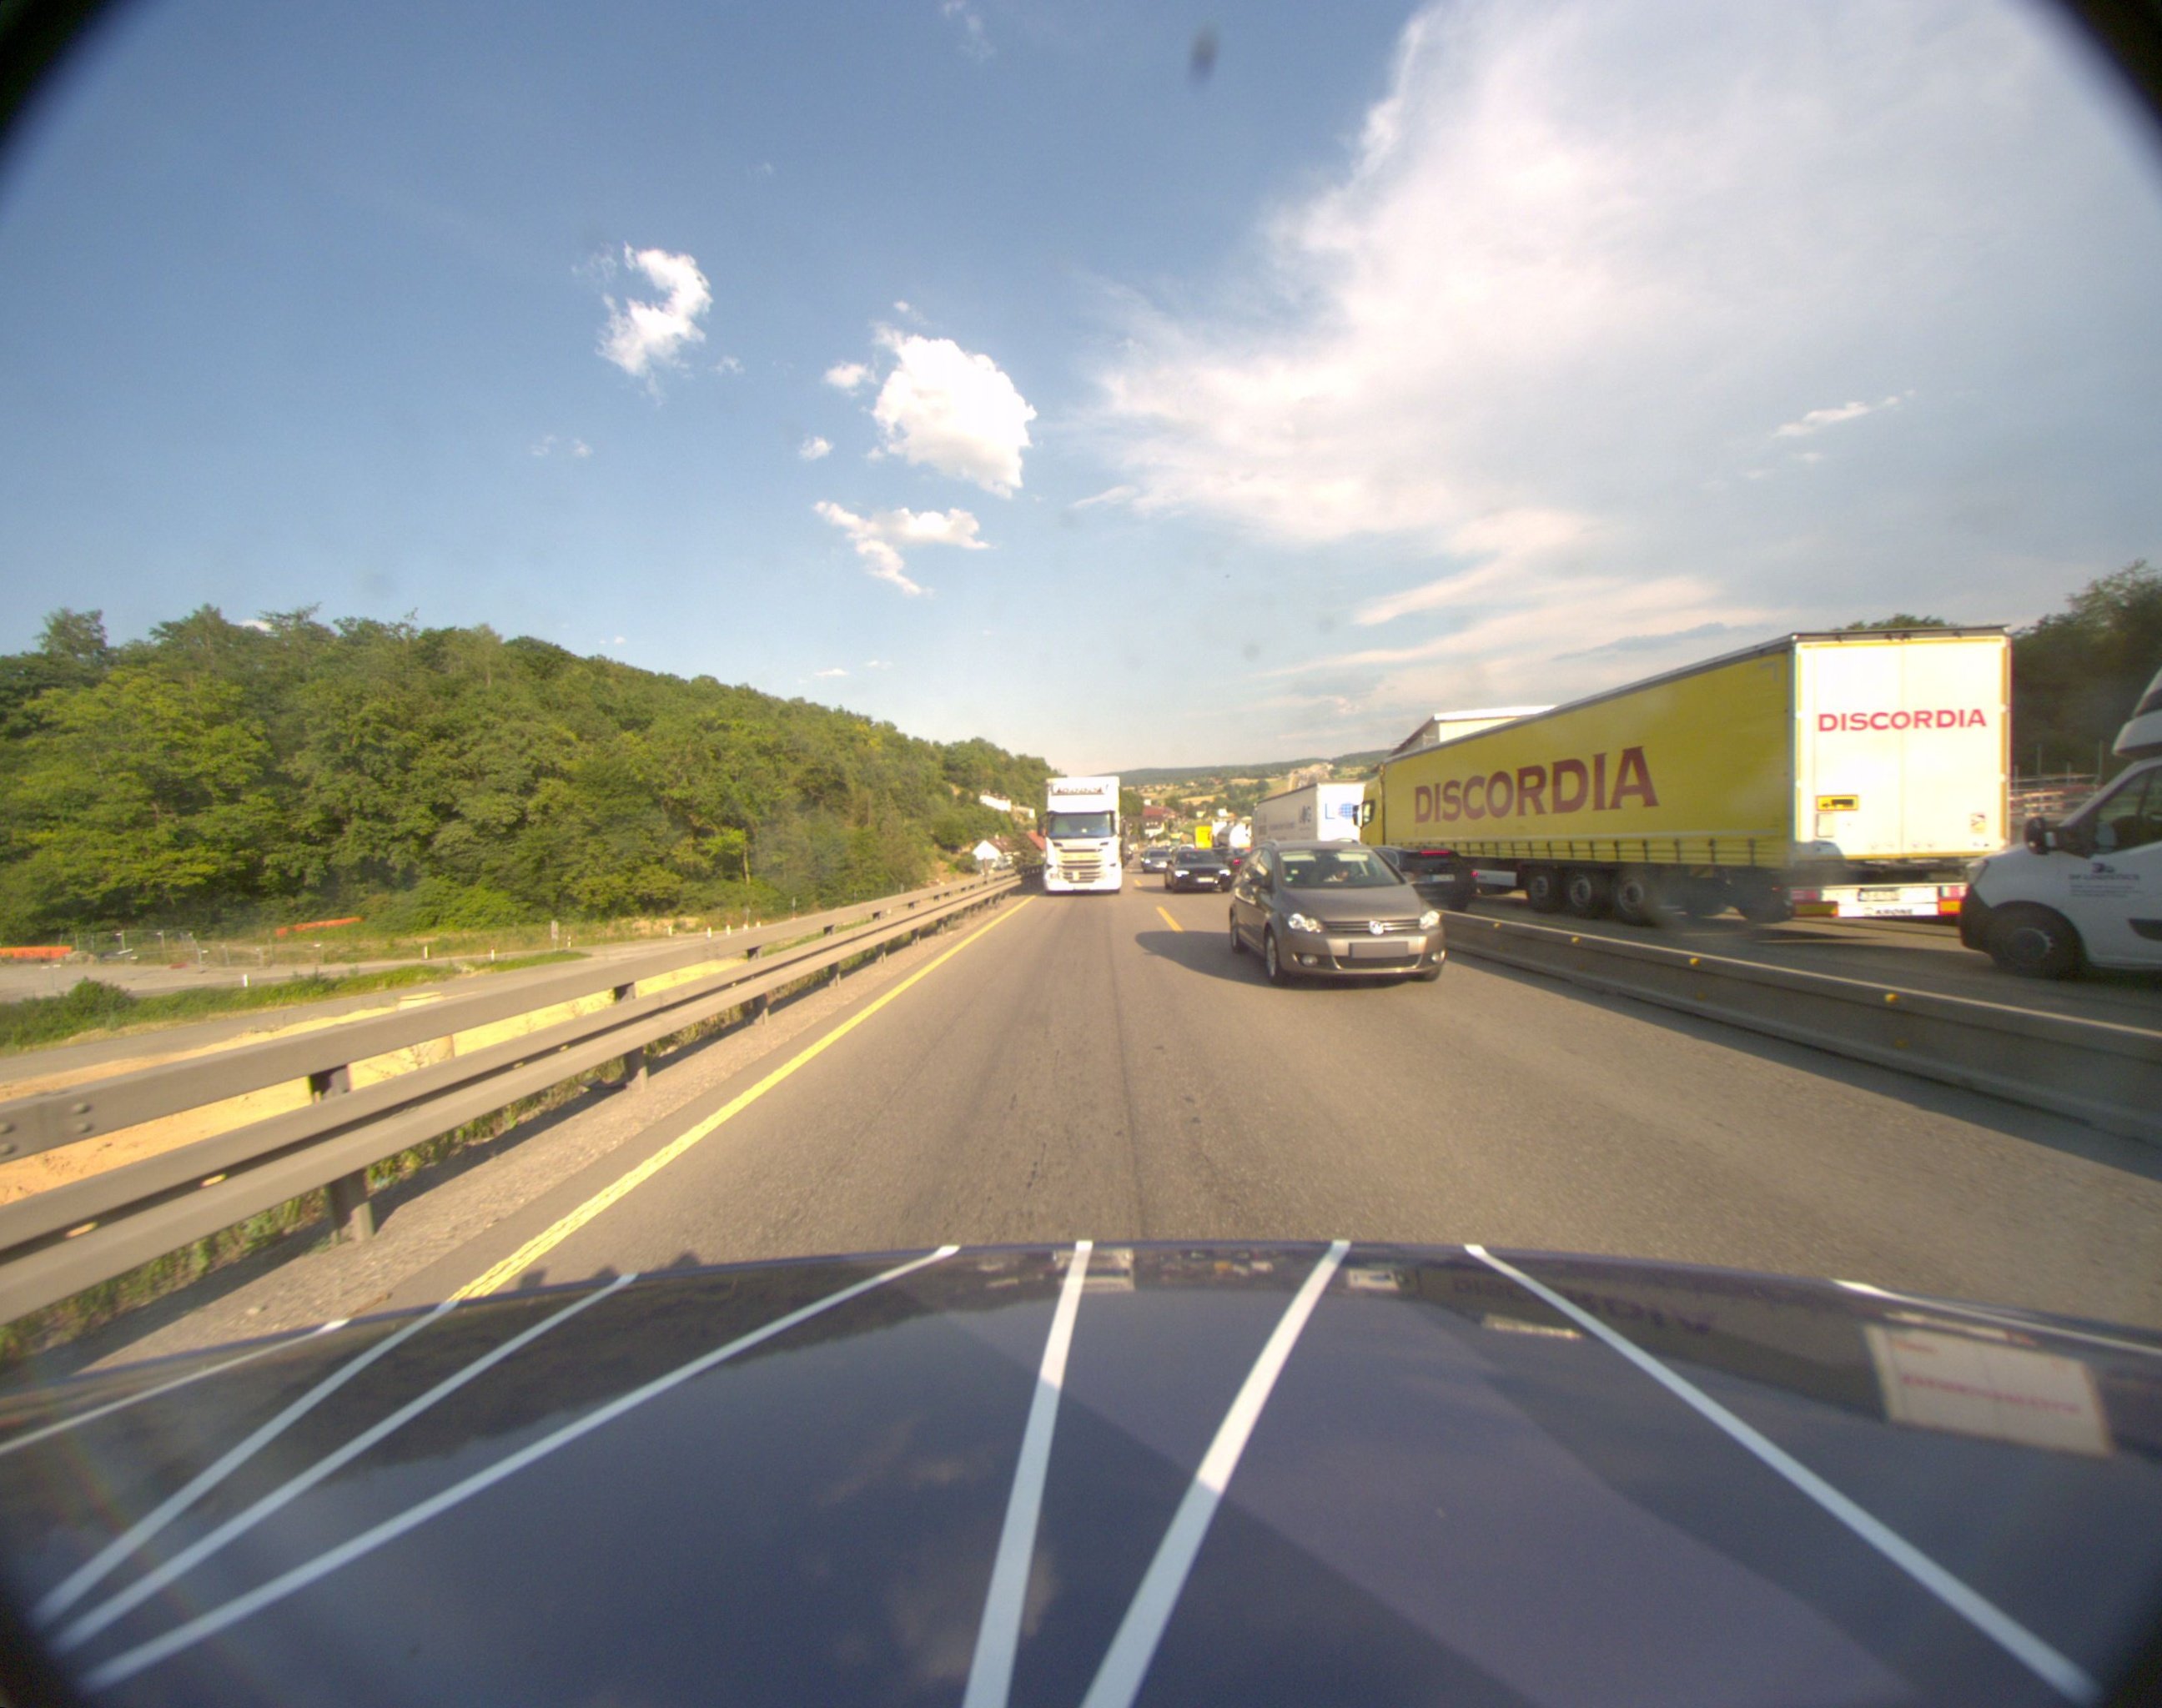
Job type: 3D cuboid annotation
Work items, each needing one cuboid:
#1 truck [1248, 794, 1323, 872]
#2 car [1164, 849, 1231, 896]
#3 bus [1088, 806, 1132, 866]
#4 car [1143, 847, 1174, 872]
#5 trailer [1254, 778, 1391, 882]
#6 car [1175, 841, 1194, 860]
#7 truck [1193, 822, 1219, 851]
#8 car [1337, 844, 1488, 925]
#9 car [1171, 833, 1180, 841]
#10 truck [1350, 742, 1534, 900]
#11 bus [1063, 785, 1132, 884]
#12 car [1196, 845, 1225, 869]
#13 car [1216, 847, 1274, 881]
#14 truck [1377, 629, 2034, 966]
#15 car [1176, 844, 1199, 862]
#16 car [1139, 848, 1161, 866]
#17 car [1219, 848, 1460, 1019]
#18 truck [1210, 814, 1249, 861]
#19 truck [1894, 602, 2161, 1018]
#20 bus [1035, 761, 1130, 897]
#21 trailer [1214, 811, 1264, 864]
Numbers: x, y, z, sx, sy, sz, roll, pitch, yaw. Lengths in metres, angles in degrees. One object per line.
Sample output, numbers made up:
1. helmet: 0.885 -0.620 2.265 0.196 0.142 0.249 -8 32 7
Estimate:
1. truck: 11.410 -1.155 42.989 2.850 4.013 6.101 -1 1 3
2. car: 3.860 0.561 25.788 1.866 1.391 4.000 -1 1 3
3. bus: 2.579 -1.453 64.087 2.984 4.553 10.907 -1 0 6
4. car: 4.751 0.312 47.030 1.698 1.390 4.001 -3 0 4
5. trailer: 11.059 -1.057 36.760 2.864 4.013 13.971 -1 1 3
6. car: 10.360 -0.379 76.332 1.866 1.899 4.001 -1 1 7
7. truck: 16.999 -2.361 103.578 2.899 3.689 9.490 -1 1 6
8. car: 7.184 0.573 16.949 1.658 1.514 4.287 -2 1 3
9. car: 26.178 -4.647 211.602 1.822 1.988 4.754 0 0 -1
10. truck: 10.481 -0.890 22.815 2.720 4.065 6.100 -1 1 1
11. bus: 1.090 -0.933 40.262 2.984 4.553 9.969 -1 0 4
12. car: 8.516 0.177 50.261 1.659 1.421 4.566 -2 1 7
13. car: 7.720 0.414 36.179 1.812 1.417 4.673 -2 1 1
14. truck: 10.337 -0.786 16.330 2.714 4.065 14.152 -1 1 1
15. car: 9.251 -0.108 66.126 1.661 1.501 3.690 -1 1 3
16. car: 5.440 0.216 60.195 1.627 1.239 4.000 -2 1 3
17. car: 2.843 0.752 9.328 1.687 1.565 4.099 -2 1 3
18. truck: 13.022 -1.422 66.897 2.605 3.865 6.203 -1 1 4
19. truck: 10.186 -0.371 4.568 2.453 3.443 7.616 -2 1 0
20. bus: 0.411 -0.839 28.634 2.634 4.077 11.315 -1 1 5
21. trailer: 12.645 -1.338 61.624 2.603 3.858 10.578 -1 1 4
